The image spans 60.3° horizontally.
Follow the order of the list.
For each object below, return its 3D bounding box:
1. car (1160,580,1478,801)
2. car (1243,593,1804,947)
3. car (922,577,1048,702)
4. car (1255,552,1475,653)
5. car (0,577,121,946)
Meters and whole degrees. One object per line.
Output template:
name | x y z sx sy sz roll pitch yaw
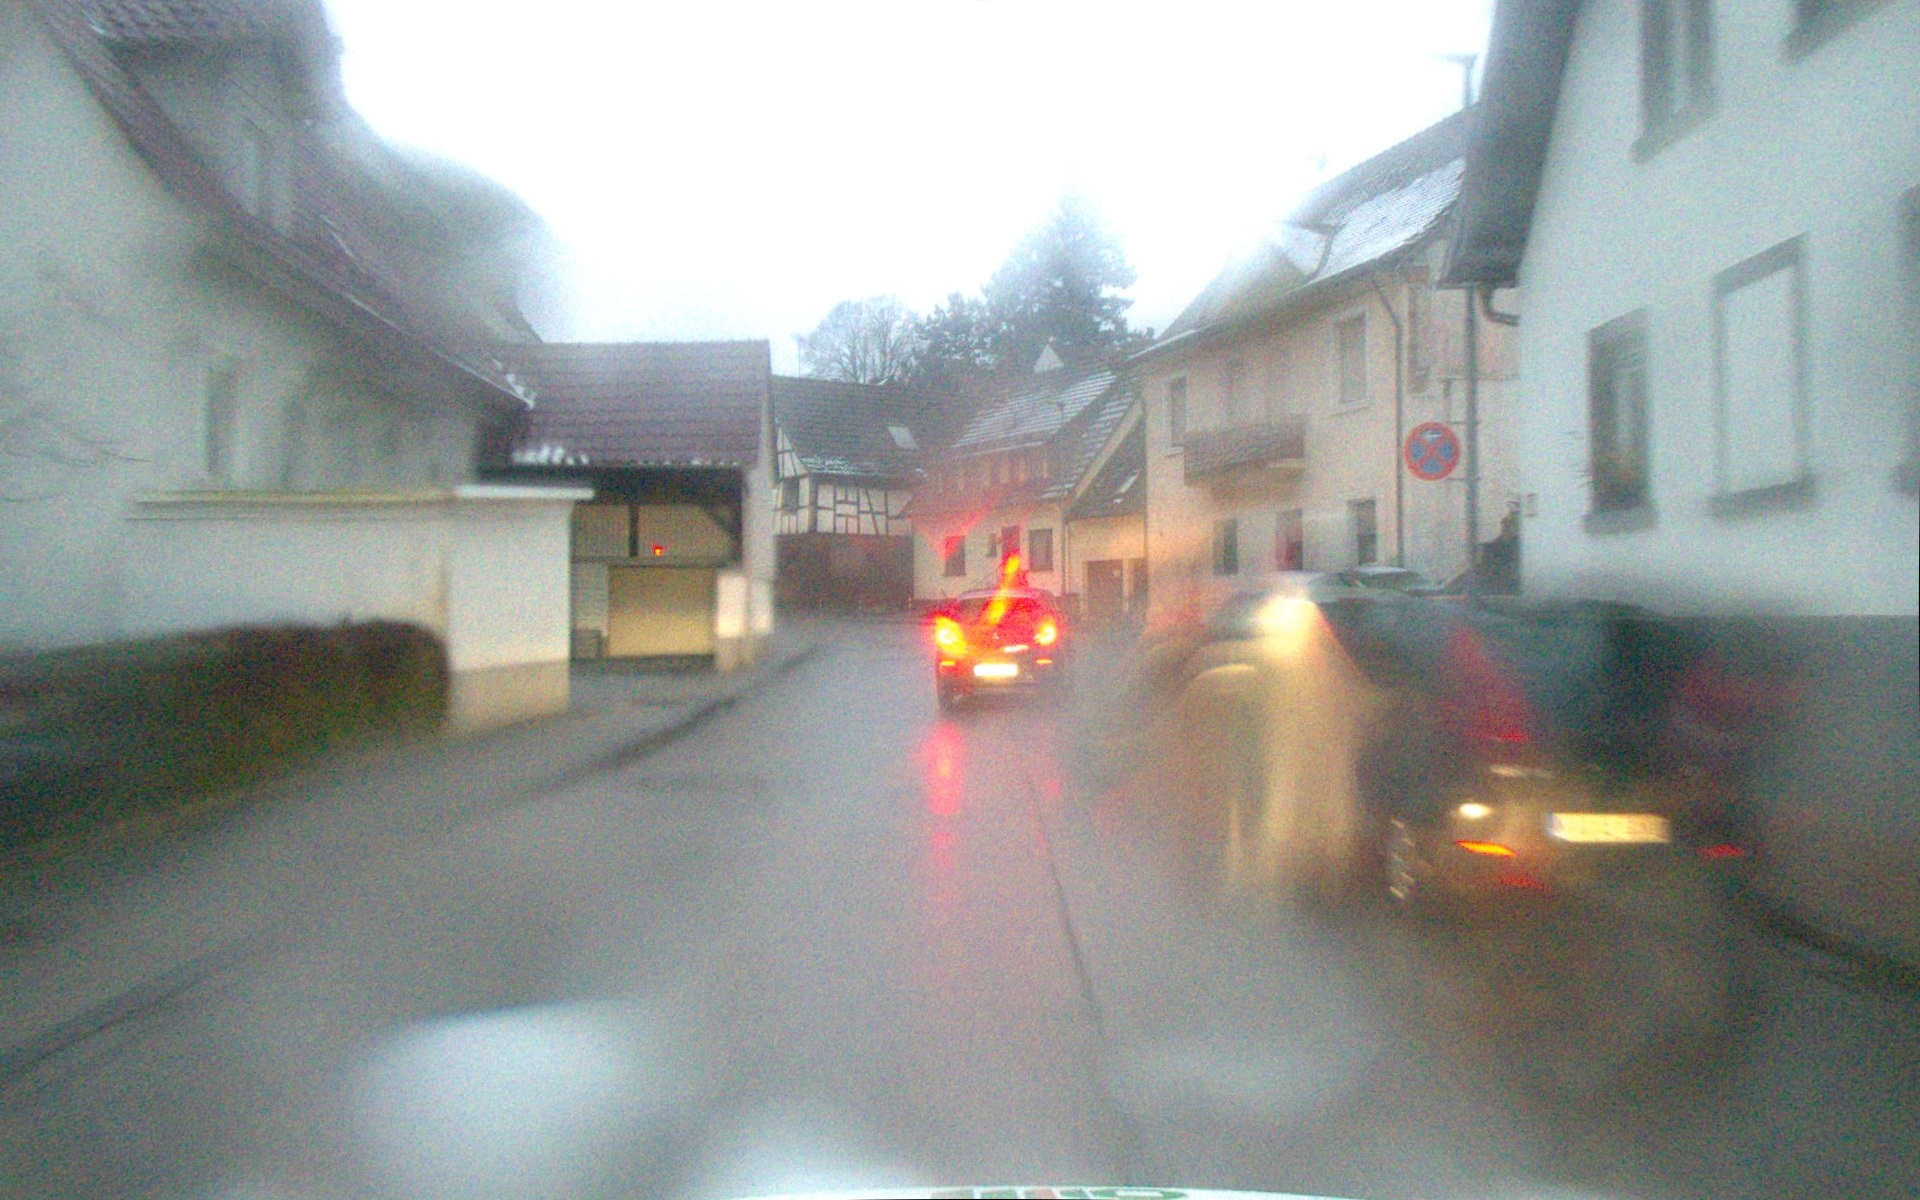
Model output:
car | 2.757 0.623 13.565 1.605 1.520 3.999 1 0 -2
car | 2.774 0.728 9.116 1.605 1.497 3.999 1 0 -2
car | 0.385 0.464 21.861 1.514 1.491 3.700 0 0 2
car | 6.802 0.068 28.284 1.777 1.513 4.261 -3 0 -15
car | -6.148 0.696 6.652 4.498 1.496 2.000 -1 0 1
